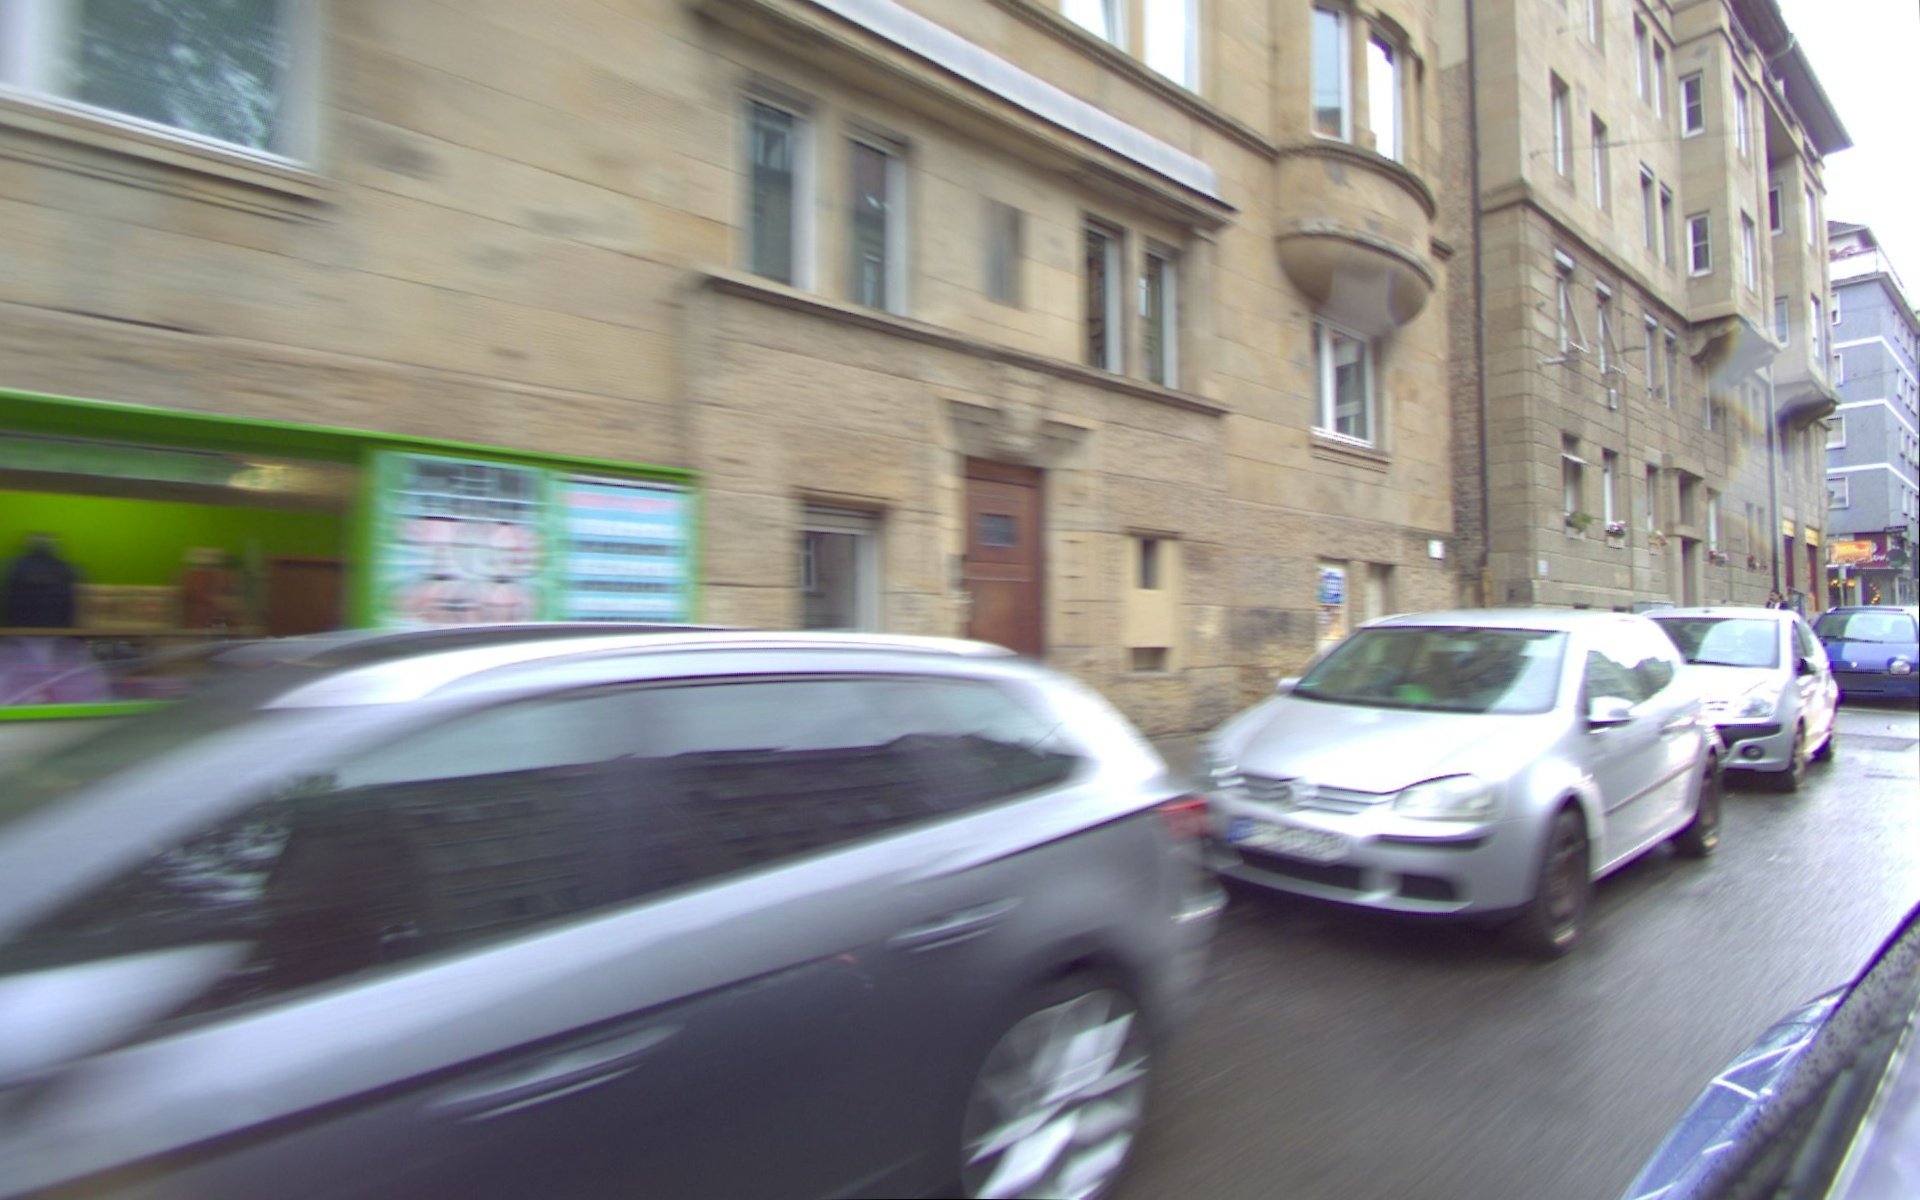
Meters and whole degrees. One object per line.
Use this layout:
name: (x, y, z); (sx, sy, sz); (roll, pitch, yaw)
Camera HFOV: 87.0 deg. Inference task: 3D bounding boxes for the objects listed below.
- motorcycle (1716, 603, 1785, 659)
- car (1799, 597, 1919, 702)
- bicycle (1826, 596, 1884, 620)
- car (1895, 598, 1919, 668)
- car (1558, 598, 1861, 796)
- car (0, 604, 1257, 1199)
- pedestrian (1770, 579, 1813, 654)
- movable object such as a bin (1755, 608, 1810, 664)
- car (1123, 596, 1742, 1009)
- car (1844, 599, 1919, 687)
motorcycle: (18.116, 0.677, 23.174); (2.697, 1.214, 0.706); (0, -1, -41)
car: (14.138, 0.685, 15.460); (3.387, 1.433, 1.545); (0, -1, -42)
bicycle: (38.279, 0.338, 43.295); (0.524, 0.985, 1.752); (0, -1, -39)
car: (21.352, 0.660, 21.582); (3.949, 1.416, 1.709); (0, -1, -42)
car: (6.982, 0.717, 9.299); (3.622, 1.453, 1.592); (0, 0, -43)
car: (-1.288, 0.736, 2.050); (4.238, 1.428, 1.672); (0, -1, -42)
pedestrian: (17.580, 0.347, 21.399); (0.697, 1.555, 0.562); (0, -1, -40)
movable object such as a bin: (16.878, 0.730, 20.764); (1.104, 1.117, 0.666); (0, -2, -41)
car: (2.774, 0.711, 5.506); (3.888, 1.453, 1.670); (0, 0, -42)
car: (17.610, 0.717, 18.433); (4.013, 1.481, 1.790); (0, -1, -42)
